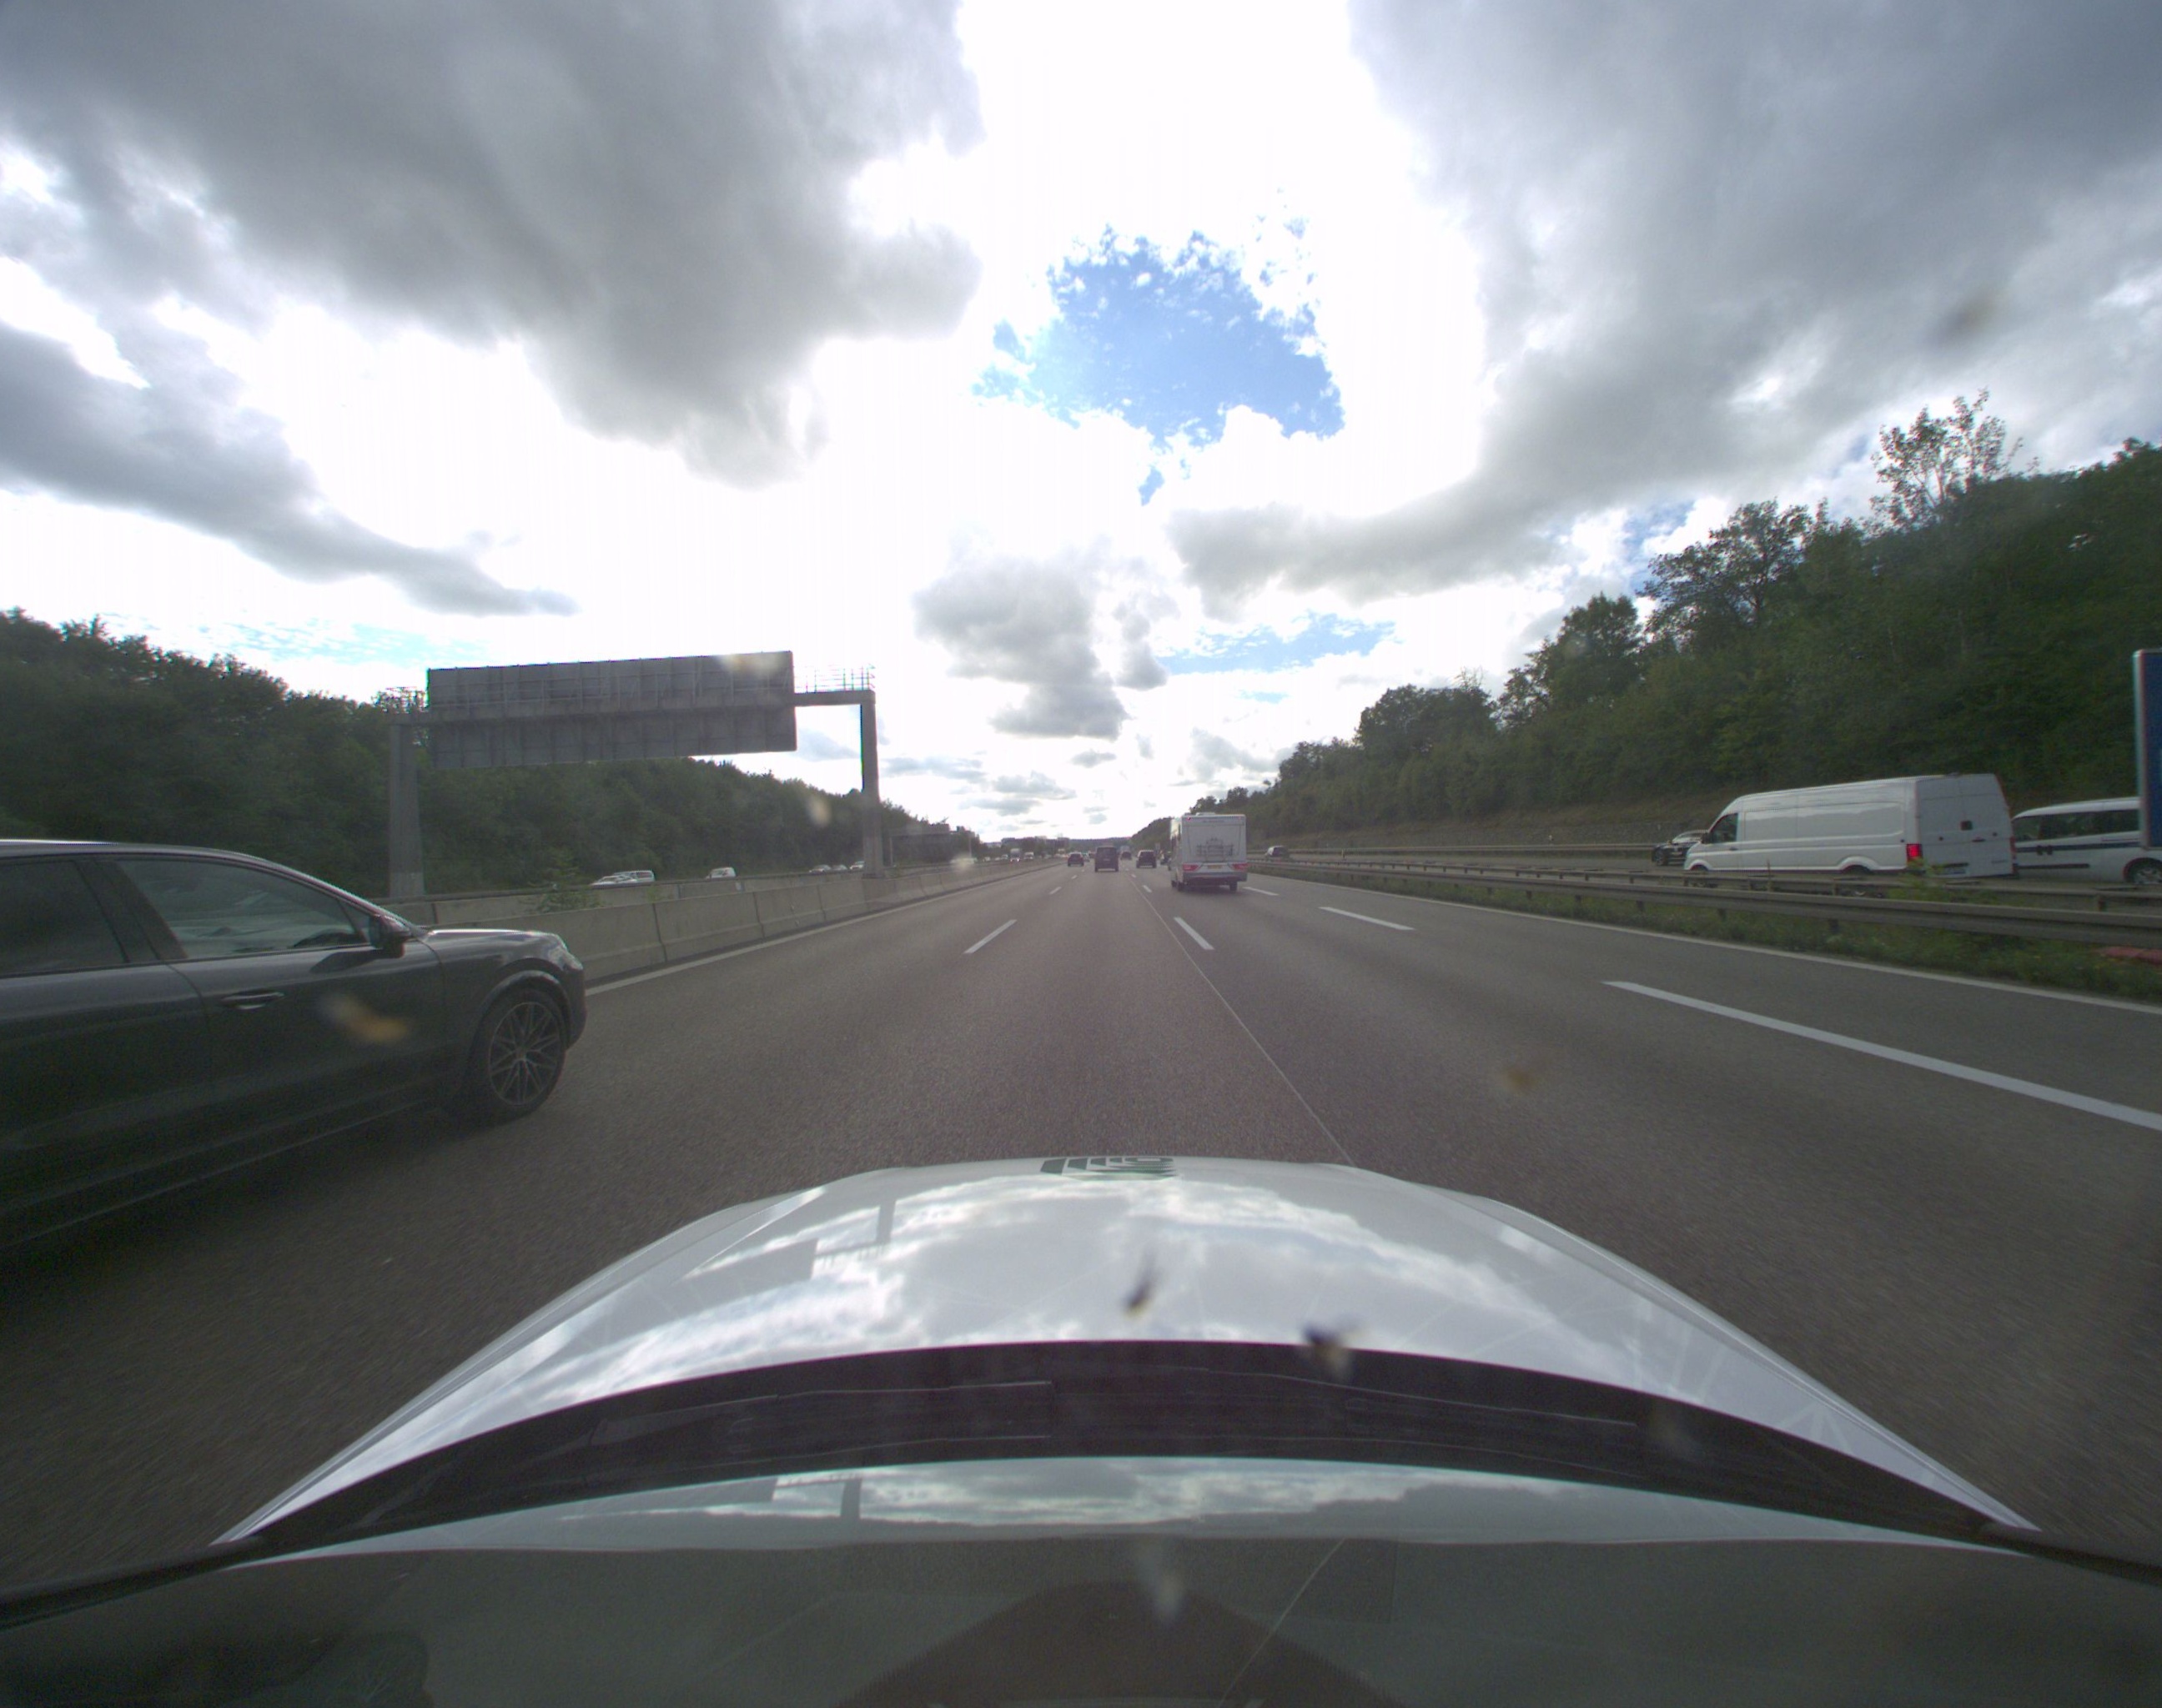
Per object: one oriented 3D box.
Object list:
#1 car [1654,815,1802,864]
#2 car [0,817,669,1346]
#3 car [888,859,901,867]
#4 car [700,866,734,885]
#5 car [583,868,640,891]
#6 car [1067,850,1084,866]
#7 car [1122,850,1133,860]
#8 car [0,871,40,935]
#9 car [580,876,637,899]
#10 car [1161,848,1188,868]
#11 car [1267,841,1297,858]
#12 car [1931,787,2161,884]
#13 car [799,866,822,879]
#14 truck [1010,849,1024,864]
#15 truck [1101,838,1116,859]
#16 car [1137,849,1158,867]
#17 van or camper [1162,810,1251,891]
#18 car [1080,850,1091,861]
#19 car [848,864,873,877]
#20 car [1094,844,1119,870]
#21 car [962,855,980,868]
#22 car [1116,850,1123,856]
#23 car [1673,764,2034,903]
[{"bbox_3d":[24.500,-0.529,31.113,1.837,1.602,4.765,-4,0,1],"label":"car"},{"bbox_3d":[-4.281,0.726,3.633,1.905,1.636,5.502,-2,0,2],"label":"car"},{"bbox_3d":[-36.297,1.792,158.619,1.586,1.494,4.181,-3,0,1],"label":"car"},{"bbox_3d":[-38.359,2.269,85.940,1.586,1.757,4.283,-3,0,1],"label":"car"},{"bbox_3d":[-39.162,2.105,68.060,1.728,1.633,4.948,-3,0,1],"label":"car"},{"bbox_3d":[-0.602,0.446,95.117,1.866,1.698,4.073,-2,0,1],"label":"car"},{"bbox_3d":[8.924,0.194,156.321,1.906,1.919,4.032,-2,0,1],"label":"car"},{"bbox_3d":[-40.295,1.841,27.765,1.985,2.315,5.690,-3,0,3],"label":"car"},{"bbox_3d":[-35.092,2.474,60.619,1.652,1.444,4.324,-3,0,1],"label":"car"},{"bbox_3d":[7.290,0.321,64.048,1.714,1.479,4.393,-2,0,2],"label":"car"},{"bbox_3d":[19.507,-0.434,79.184,1.836,1.484,4.527,-4,0,2],"label":"car"},{"bbox_3d":[20.491,-0.361,16.415,1.836,1.752,4.766,-1,0,2],"label":"car"},{"bbox_3d":[-33.970,2.322,102.358,1.497,1.427,4.109,-3,0,1],"label":"car"},{"bbox_3d":[-14.431,0.554,184.420,2.345,3.263,7.828,-2,0,1],"label":"truck"},{"bbox_3d":[6.028,-1.213,180.587,3.251,4.375,11.030,-1,0,2],"label":"truck"},{"bbox_3d":[6.218,0.374,76.255,1.691,1.564,4.114,-2,0,1],"label":"car"},{"bbox_3d":[4.677,-0.137,31.651,2.459,2.722,7.664,-1,0,2],"label":"van or camper"},{"bbox_3d":[0.759,0.229,131.333,1.691,1.611,4.114,-2,0,1],"label":"car"},{"bbox_3d":[-30.240,2.289,111.817,1.986,1.592,4.770,-2,0,2],"label":"car"},{"bbox_3d":[2.004,0.232,64.026,1.848,1.910,4.261,-2,0,1],"label":"car"},{"bbox_3d":[-16.258,1.080,120.478,1.828,1.786,5.504,-3,0,1],"label":"car"},{"bbox_3d":[10.224,-0.275,215.007,1.745,1.695,4.191,-2,0,1],"label":"car"},{"bbox_3d":[17.186,-0.413,18.903,2.062,2.554,6.746,-3,0,2],"label":"car"}]
